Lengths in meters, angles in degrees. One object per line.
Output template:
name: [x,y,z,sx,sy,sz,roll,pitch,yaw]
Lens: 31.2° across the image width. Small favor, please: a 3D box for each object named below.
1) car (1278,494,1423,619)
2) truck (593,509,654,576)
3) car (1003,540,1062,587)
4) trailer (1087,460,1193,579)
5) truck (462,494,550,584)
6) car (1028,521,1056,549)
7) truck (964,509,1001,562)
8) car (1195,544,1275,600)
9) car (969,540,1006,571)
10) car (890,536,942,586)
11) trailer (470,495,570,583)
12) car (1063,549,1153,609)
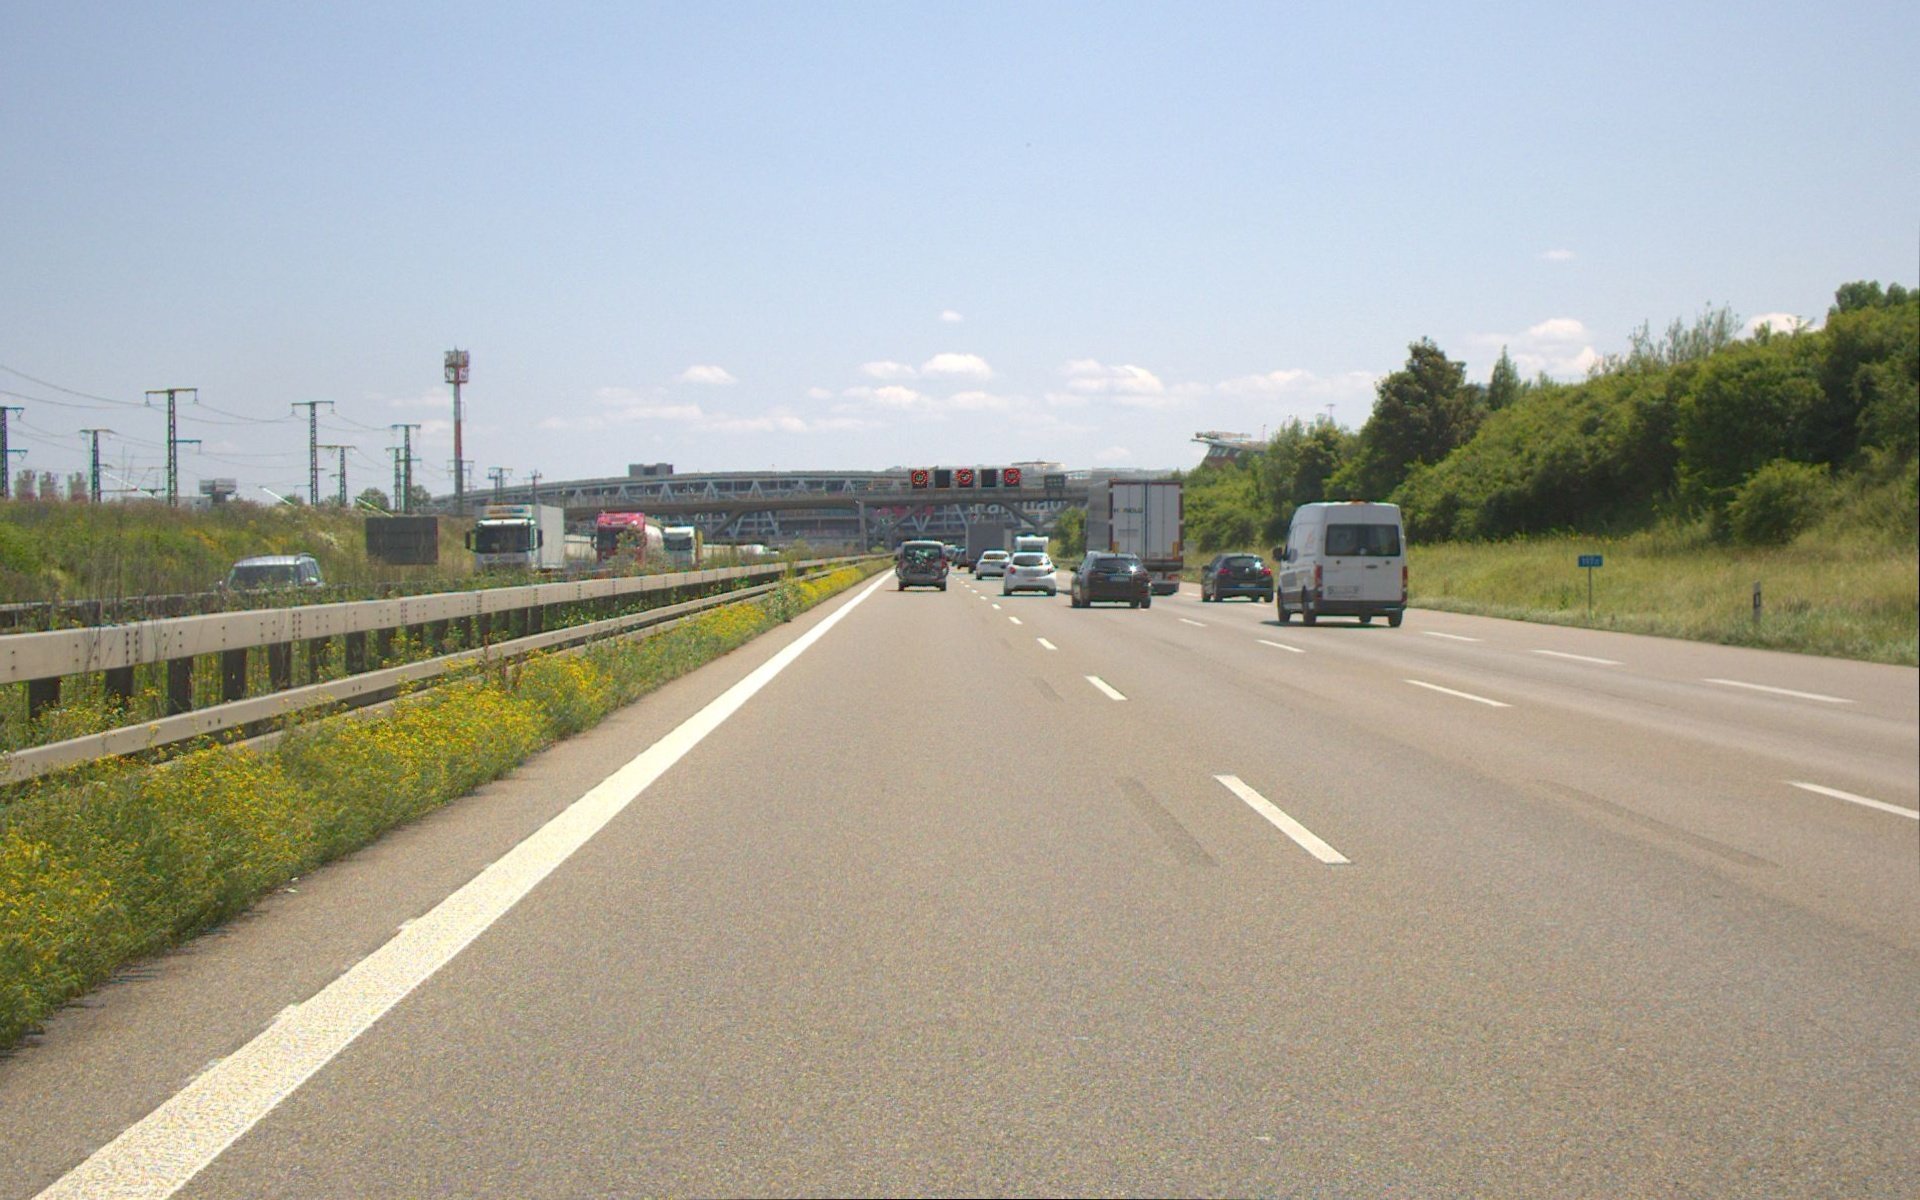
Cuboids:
car: [8.160,-0.941,72.356,2.274,2.519,5.400,0,1,-1]
truck: [-18.166,-3.088,185.919,2.787,3.509,4.713,2,1,0]
car: [2.455,-1.213,115.973,1.881,1.521,4.000,1,0,2]
trailer: [6.371,-2.853,122.880,3.177,4.045,9.440,-1,1,0]
truck: [-17.706,-2.376,134.310,2.787,3.377,4.713,2,1,0]
car: [5.959,-4.740,249.965,1.993,2.007,4.437,0,1,1]
truck: [1.476,-4.249,226.681,2.355,3.404,6.057,0,1,0]
car: [8.371,-0.834,104.954,1.993,1.590,4.000,2,0,-1]
car: [1.412,-2.291,177.321,1.881,1.521,4.000,1,0,1]
car: [-1.609,-1.425,126.431,1.881,1.769,4.000,0,0,0]
trailer: [-17.719,-2.457,139.052,2.787,3.377,9.583,2,1,0]
car: [3.923,-0.553,91.494,1.993,1.503,4.000,2,0,-3]
